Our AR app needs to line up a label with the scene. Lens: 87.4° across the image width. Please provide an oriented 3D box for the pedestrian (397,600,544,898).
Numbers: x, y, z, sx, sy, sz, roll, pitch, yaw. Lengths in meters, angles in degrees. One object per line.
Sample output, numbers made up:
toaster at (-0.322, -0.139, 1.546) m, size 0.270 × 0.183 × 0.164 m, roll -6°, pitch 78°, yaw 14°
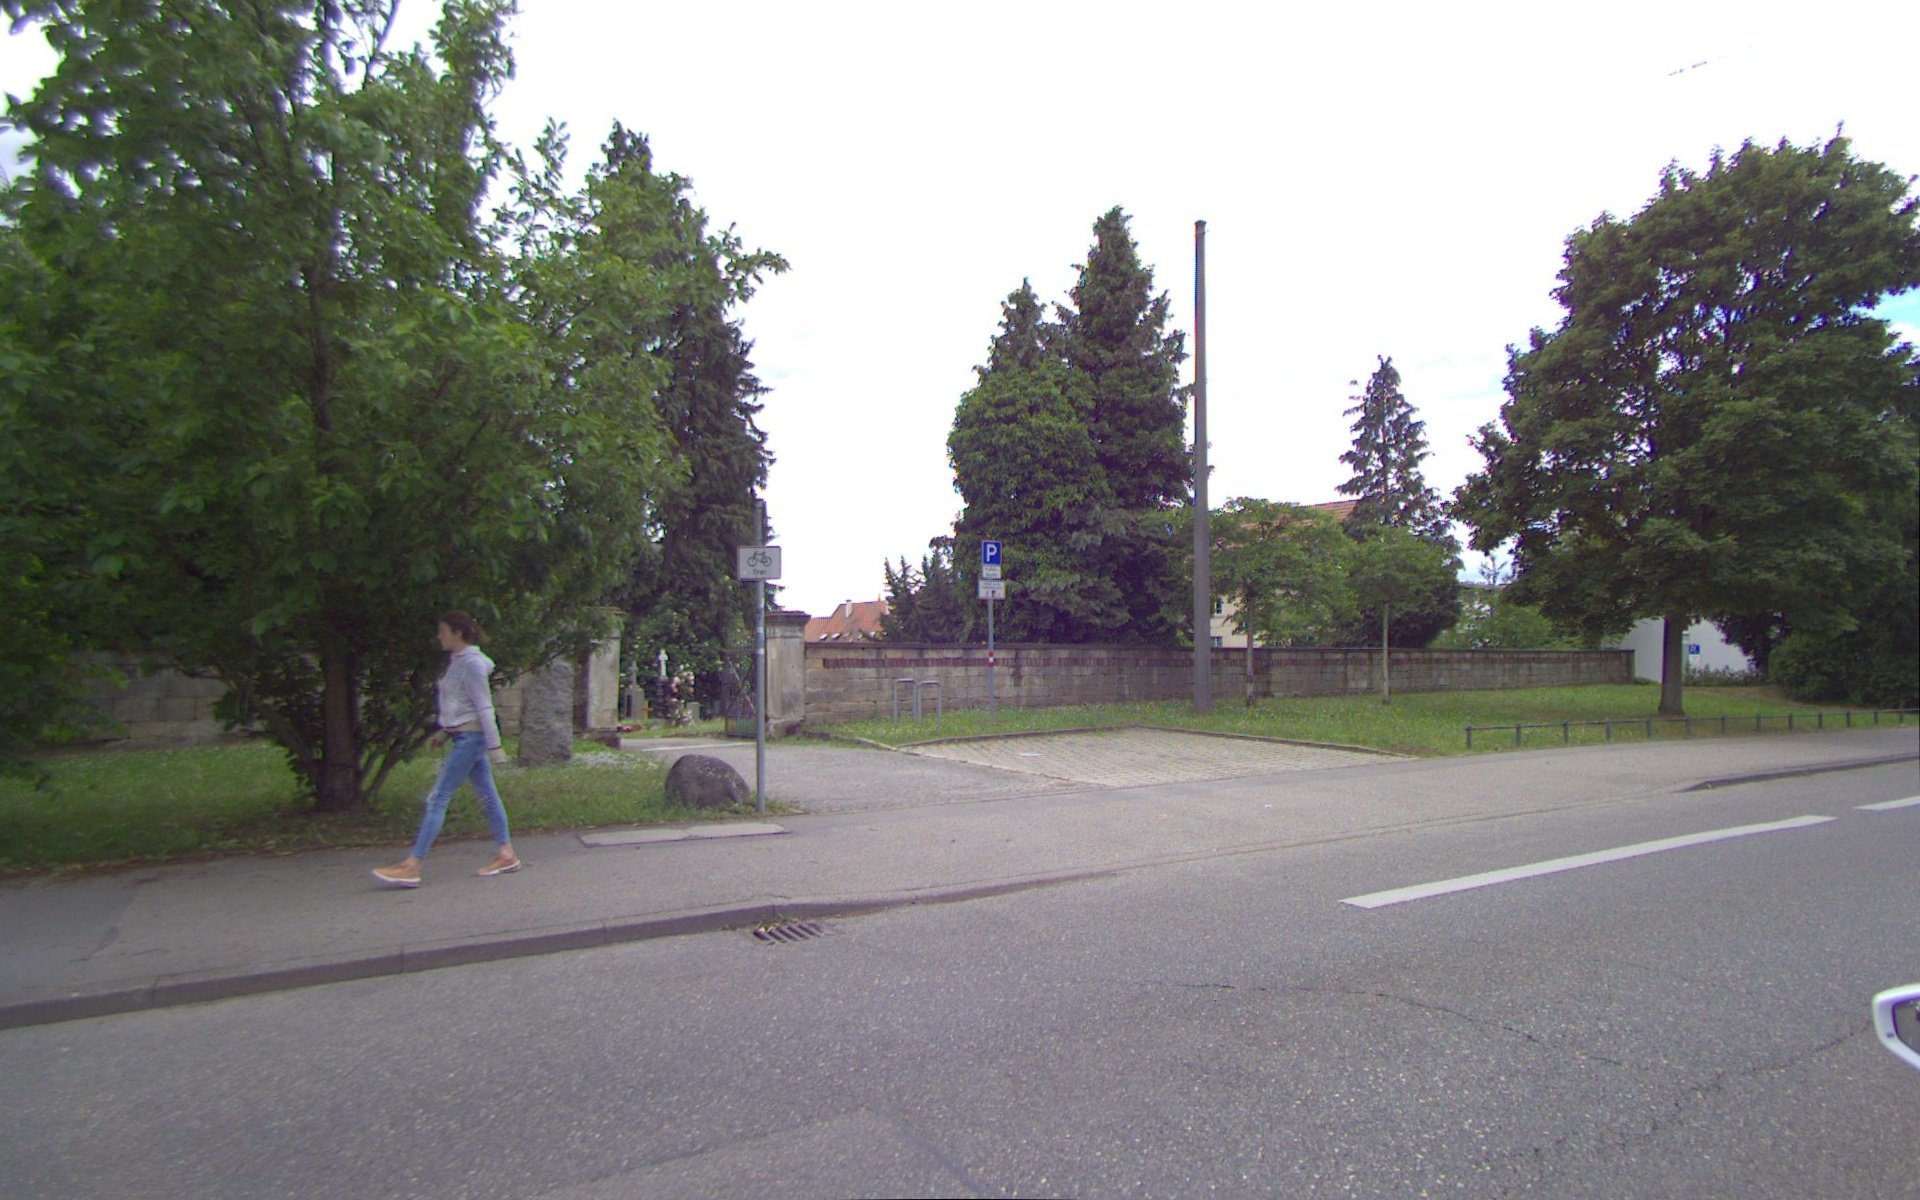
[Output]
pedestrian at (-3.246, 0.932, 6.659) m, size 0.776 × 1.835 × 0.610 m, roll 2°, pitch -1°, yaw -30°
